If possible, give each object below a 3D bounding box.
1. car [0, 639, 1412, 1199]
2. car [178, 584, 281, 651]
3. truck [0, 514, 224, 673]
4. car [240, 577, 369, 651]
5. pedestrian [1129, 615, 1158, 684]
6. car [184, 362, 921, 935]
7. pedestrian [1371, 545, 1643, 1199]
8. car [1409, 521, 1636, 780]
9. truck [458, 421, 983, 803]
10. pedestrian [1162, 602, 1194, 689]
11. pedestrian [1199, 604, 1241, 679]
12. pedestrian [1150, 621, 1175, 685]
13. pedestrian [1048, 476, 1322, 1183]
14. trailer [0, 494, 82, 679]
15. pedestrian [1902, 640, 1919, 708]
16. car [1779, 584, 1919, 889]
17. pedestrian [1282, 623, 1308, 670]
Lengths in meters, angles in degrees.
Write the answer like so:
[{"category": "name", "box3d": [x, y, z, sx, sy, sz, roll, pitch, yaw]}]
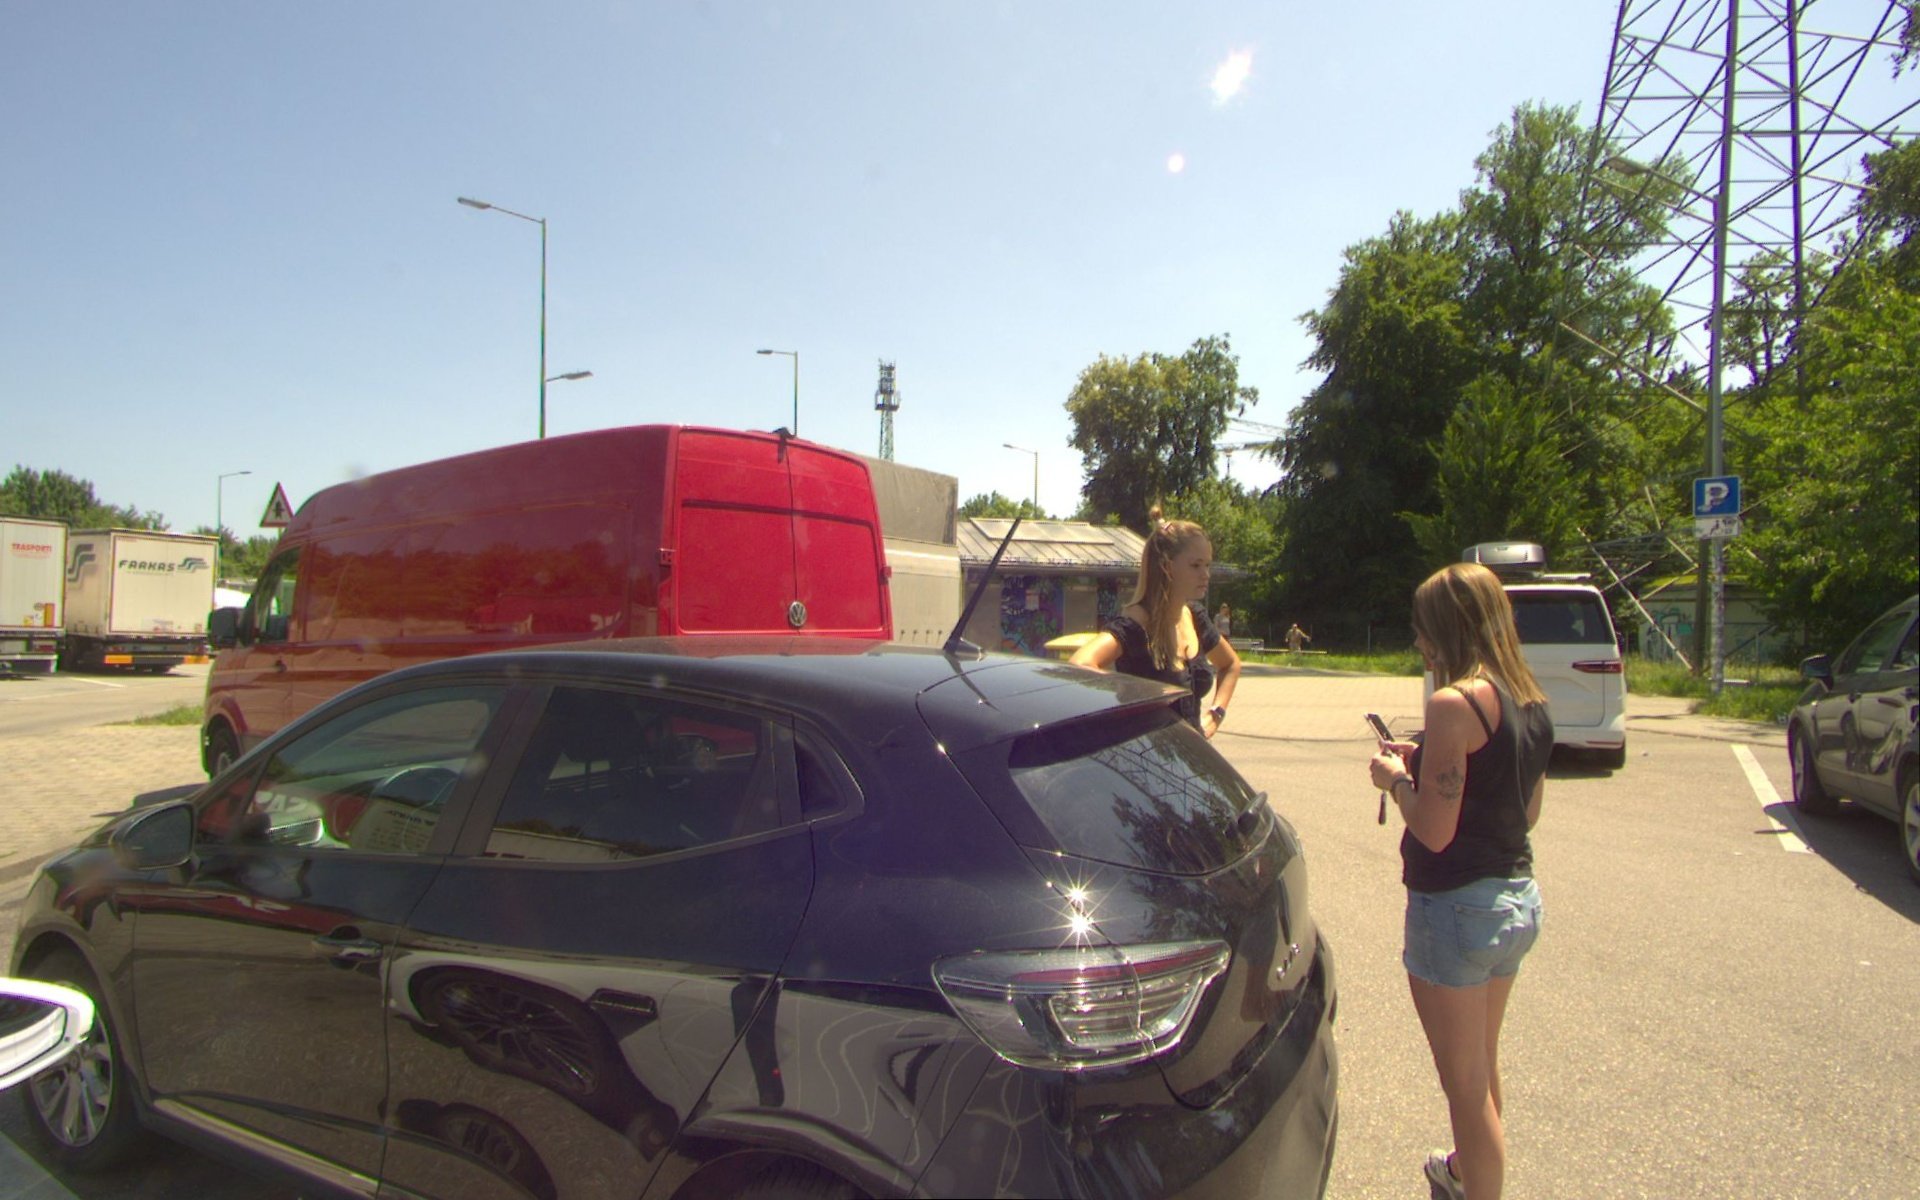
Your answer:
[{"category": "car", "box3d": [-0.771, 0.850, 2.789, 3.628, 1.476, 1.776, -1, -2, 27]}, {"category": "car", "box3d": [-29.926, 0.762, 41.023, 3.943, 2.632, 2.111, -1, -2, 32]}, {"category": "truck", "box3d": [-27.081, -0.019, 31.192, 11.800, 4.279, 2.582, -1, -2, 32]}, {"category": "car", "box3d": [-29.455, 0.610, 44.941, 6.259, 3.114, 2.495, 0, -1, 32]}, {"category": "pedestrian", "box3d": [4.026, 1.074, 21.963, 0.521, 1.478, 0.576, 0, 0, 23]}, {"category": "car", "box3d": [-3.372, 0.253, 7.338, 6.298, 2.668, 1.988, 0, -1, 36]}, {"category": "pedestrian", "box3d": [1.220, 0.707, 2.266, 0.478, 1.615, 0.501, 0, 0, 29]}, {"category": "car", "box3d": [6.623, 0.529, 11.902, 1.901, 2.401, 4.954, 1, -1, 29]}, {"category": "truck", "box3d": [-2.437, 0.174, 9.887, 4.751, 2.863, 2.514, -1, -2, 34]}, {"category": "pedestrian", "box3d": [4.556, 0.939, 20.907, 0.520, 1.783, 0.651, 0, 0, 23]}, {"category": "pedestrian", "box3d": [6.699, 1.072, 25.819, 0.762, 1.903, 0.840, 0, -1, -11]}, {"category": "pedestrian", "box3d": [4.394, 1.134, 21.667, 0.439, 1.362, 0.477, 0, 0, 23]}, {"category": "pedestrian", "box3d": [0.741, 0.622, 3.177, 0.481, 1.884, 0.906, 0, -1, 39]}, {"category": "trailer", "box3d": [-28.605, -0.336, 27.875, 12.642, 4.510, 2.677, 0, -1, 32]}, {"category": "pedestrian", "box3d": [17.159, 1.290, 17.541, 0.694, 1.178, 0.787, -1, -1, 22]}, {"category": "car", "box3d": [6.661, 0.772, 6.175, 1.811, 1.638, 4.150, 0, -1, 30]}, {"category": "pedestrian", "box3d": [14.762, 2.037, 44.168, 0.955, 2.039, 0.829, 0, -1, 10]}]
